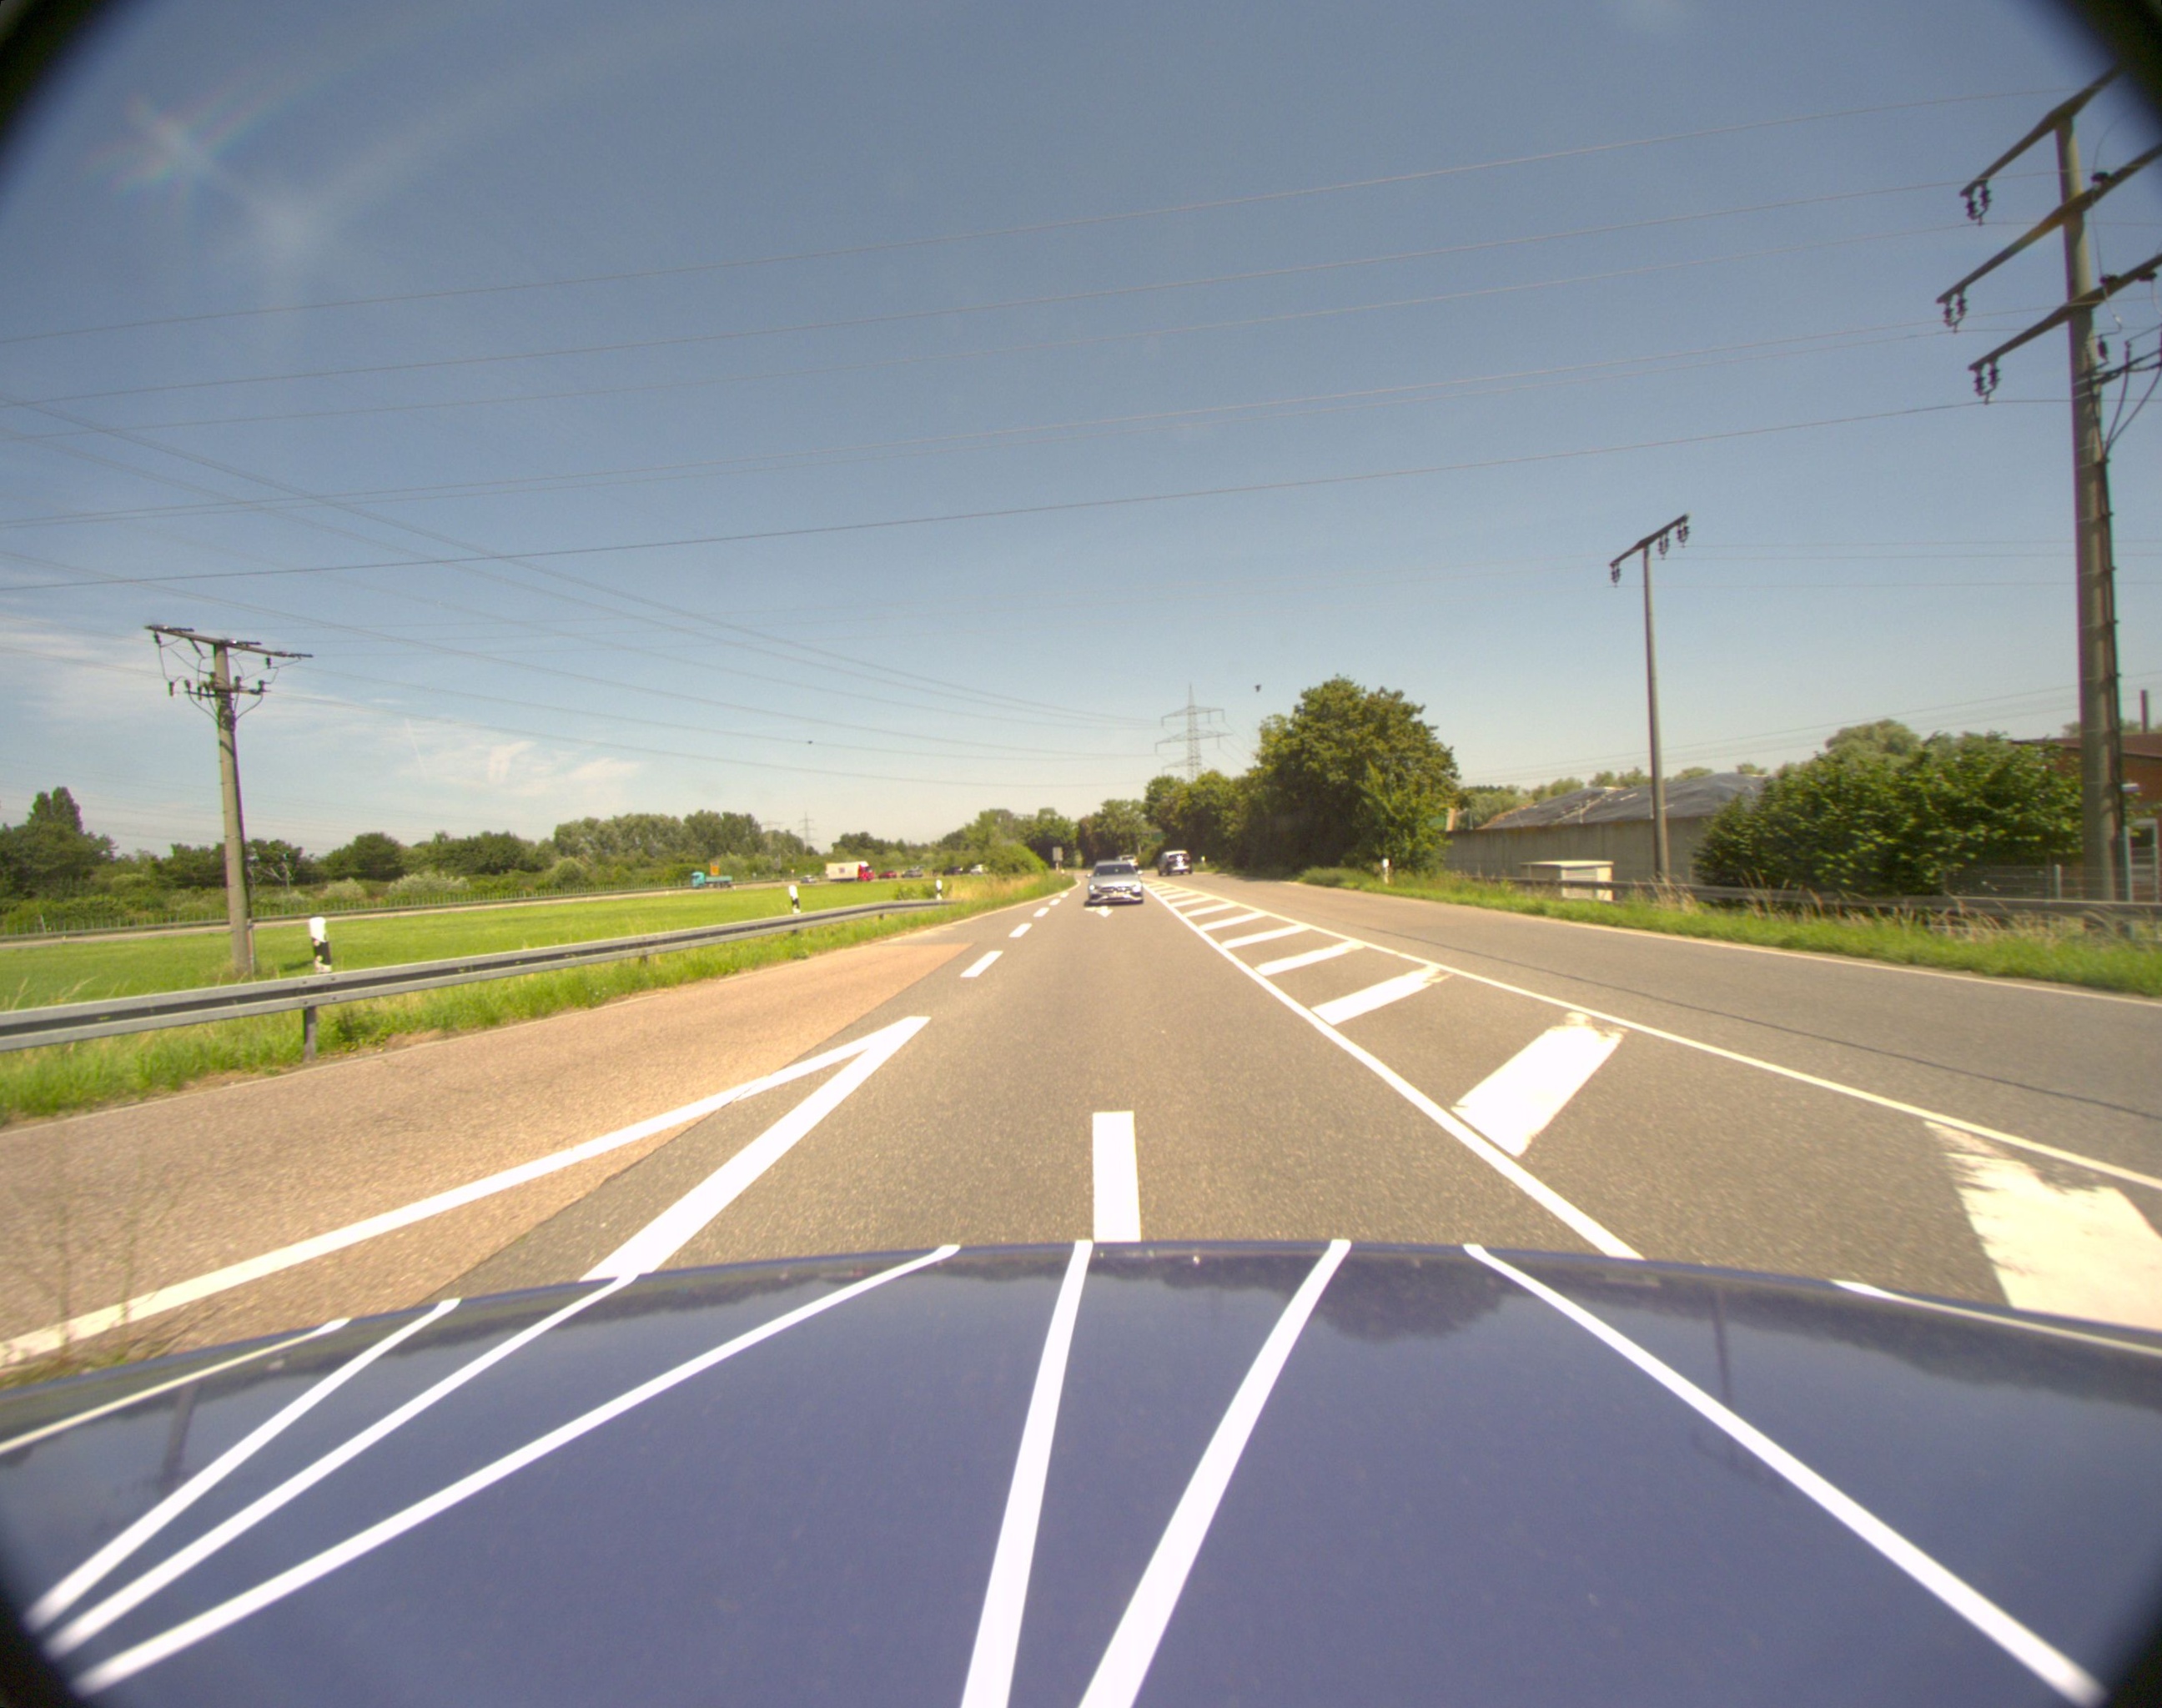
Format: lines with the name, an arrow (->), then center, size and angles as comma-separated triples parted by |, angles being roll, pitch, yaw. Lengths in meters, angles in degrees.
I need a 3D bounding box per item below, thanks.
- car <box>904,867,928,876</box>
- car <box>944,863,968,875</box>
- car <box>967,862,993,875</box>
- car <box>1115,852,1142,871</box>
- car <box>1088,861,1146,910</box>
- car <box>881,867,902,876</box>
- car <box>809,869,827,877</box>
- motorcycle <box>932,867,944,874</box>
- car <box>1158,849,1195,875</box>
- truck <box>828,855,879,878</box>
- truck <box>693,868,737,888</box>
car -> -29.678, 3.134, 136.846 | 1.850, 1.452, 4.796 | -6, 2, -45
car -> -20.828, 2.502, 126.678 | 1.710, 1.629, 4.238 | -7, 2, -41
car -> -16.117, 2.303, 121.165 | 1.864, 1.592, 4.766 | -7, 1, -39
car -> 4.367, 0.667, 70.278 | 1.746, 1.580, 3.998 | -5, 0, -6
car -> 1.278, 1.022, 26.441 | 1.824, 1.478, 4.149 | -2, 0, 3
car -> -35.664, 3.302, 142.781 | 1.808, 1.507, 4.380 | -4, 1, -45
car -> -55.581, 4.094, 160.377 | 3.997, 1.451, 1.640 | -4, 1, 41
motorcycle -> -24.861, 2.817, 132.323 | 2.423, 1.117, 0.785 | -3, 3, 45
car -> 6.355, 0.498, 50.766 | 1.737, 1.581, 3.956 | -4, 1, -2
truck -> -41.449, 2.316, 138.325 | 9.532, 3.560, 2.729 | -3, 3, 27
truck -> -75.349, 4.923, 156.440 | 7.621, 3.451, 2.604 | -4, 1, -35
